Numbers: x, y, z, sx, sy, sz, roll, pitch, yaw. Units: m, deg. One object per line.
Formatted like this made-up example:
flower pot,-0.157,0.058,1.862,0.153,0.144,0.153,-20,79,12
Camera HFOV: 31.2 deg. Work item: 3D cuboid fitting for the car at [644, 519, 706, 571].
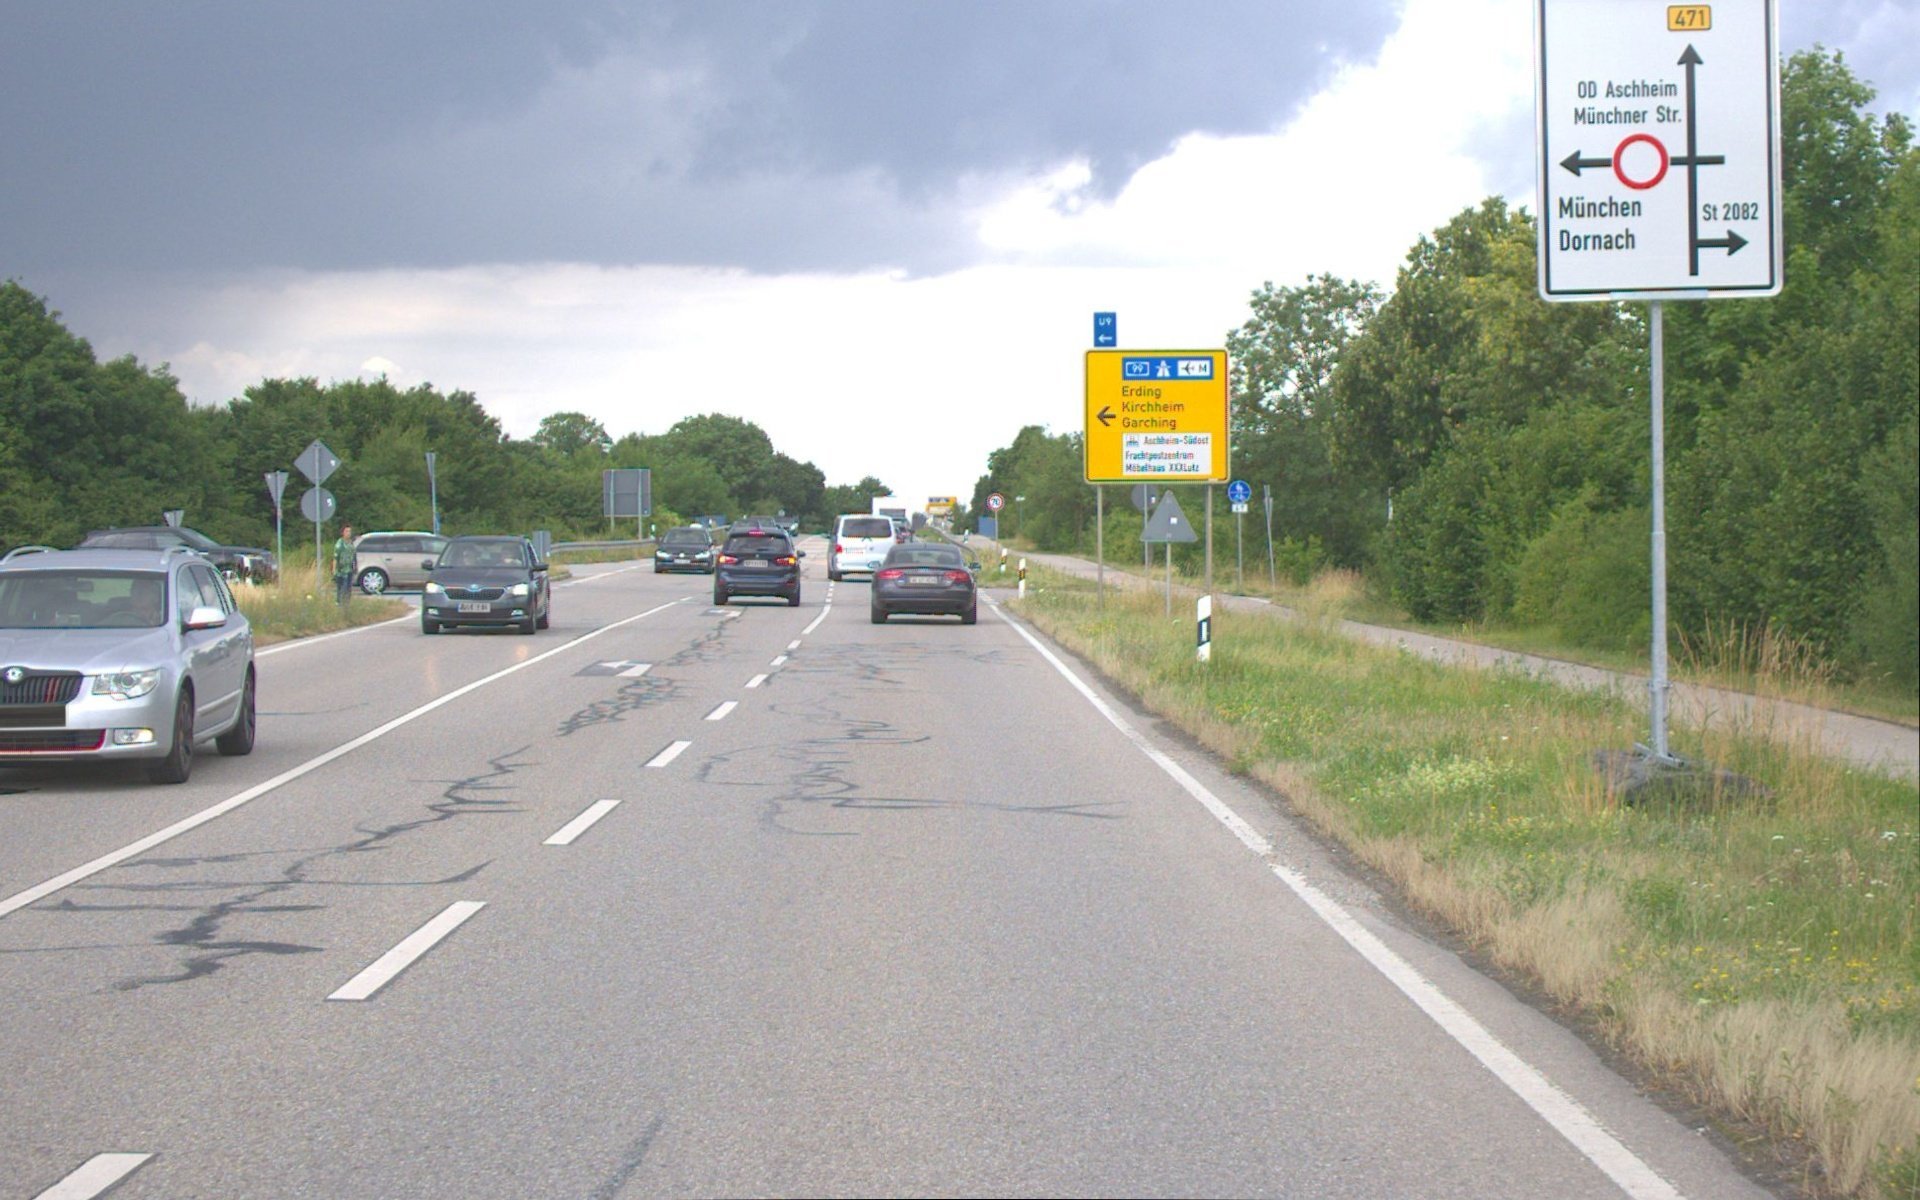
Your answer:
car,-8.887,-1.714,107.411,1.646,1.585,4.000,-1,1,-1

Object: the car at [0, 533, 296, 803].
car,-5.750,0.361,22.918,1.767,1.596,4.931,0,1,-1

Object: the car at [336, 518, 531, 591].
car,-12.304,-1.070,80.515,4.412,1.643,1.502,-1,1,-6

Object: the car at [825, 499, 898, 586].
car,-2.839,-1.675,100.106,1.999,2.443,4.852,-1,1,-1

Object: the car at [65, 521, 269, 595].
car,-18.348,-0.985,79.679,4.412,1.643,1.502,-1,1,-4

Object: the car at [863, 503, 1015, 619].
car,-0.422,-0.702,60.408,2.371,1.874,4.478,-2,1,-3

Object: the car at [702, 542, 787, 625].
car,-4.518,-0.372,72.439,1.571,1.695,4.000,0,1,-1

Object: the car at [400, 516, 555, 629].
car,-7.290,-0.441,52.249,1.853,1.624,4.000,0,1,-1

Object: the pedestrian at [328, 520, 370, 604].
pedestrian,-11.497,-0.718,64.718,0.367,1.570,0.702,0,1,35
